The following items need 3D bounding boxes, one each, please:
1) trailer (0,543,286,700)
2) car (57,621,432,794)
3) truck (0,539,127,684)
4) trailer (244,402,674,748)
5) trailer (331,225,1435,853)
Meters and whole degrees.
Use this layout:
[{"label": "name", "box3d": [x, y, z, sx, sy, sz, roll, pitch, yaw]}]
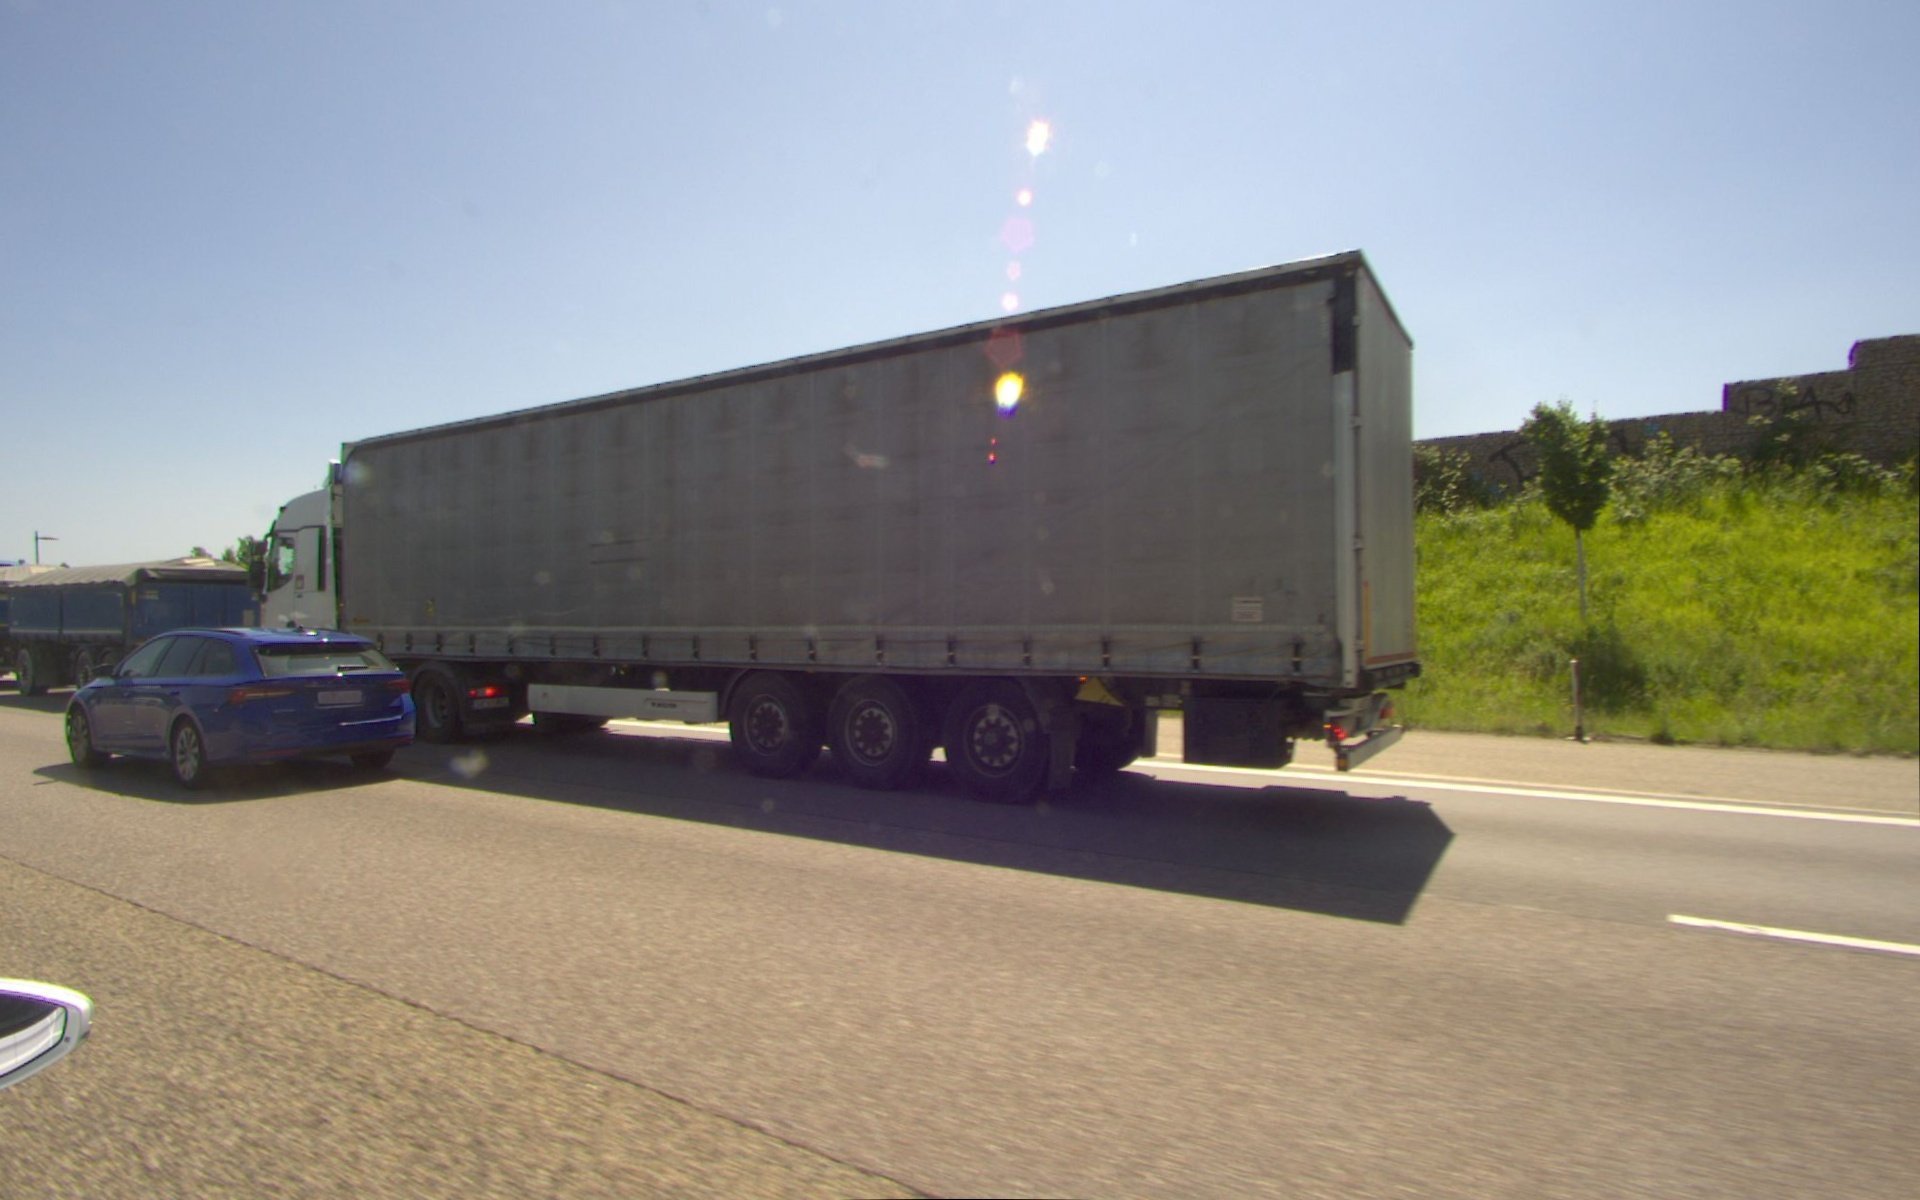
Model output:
[{"label": "trailer", "box3d": [-18.394, 0.479, 21.902, 8.986, 2.873, 2.739, -1, -2, 33]}, {"label": "car", "box3d": [-7.484, 0.983, 10.350, 4.366, 1.459, 1.703, -2, -2, 33]}, {"label": "truck", "box3d": [-24.672, 0.290, 25.957, 7.030, 3.354, 2.739, 0, -1, 33]}, {"label": "trailer", "box3d": [-7.519, -0.244, 14.822, 6.319, 4.097, 2.918, 0, -1, 33]}, {"label": "trailer", "box3d": [-2.192, -0.320, 11.440, 13.555, 4.102, 2.957, 0, -1, 33]}]
